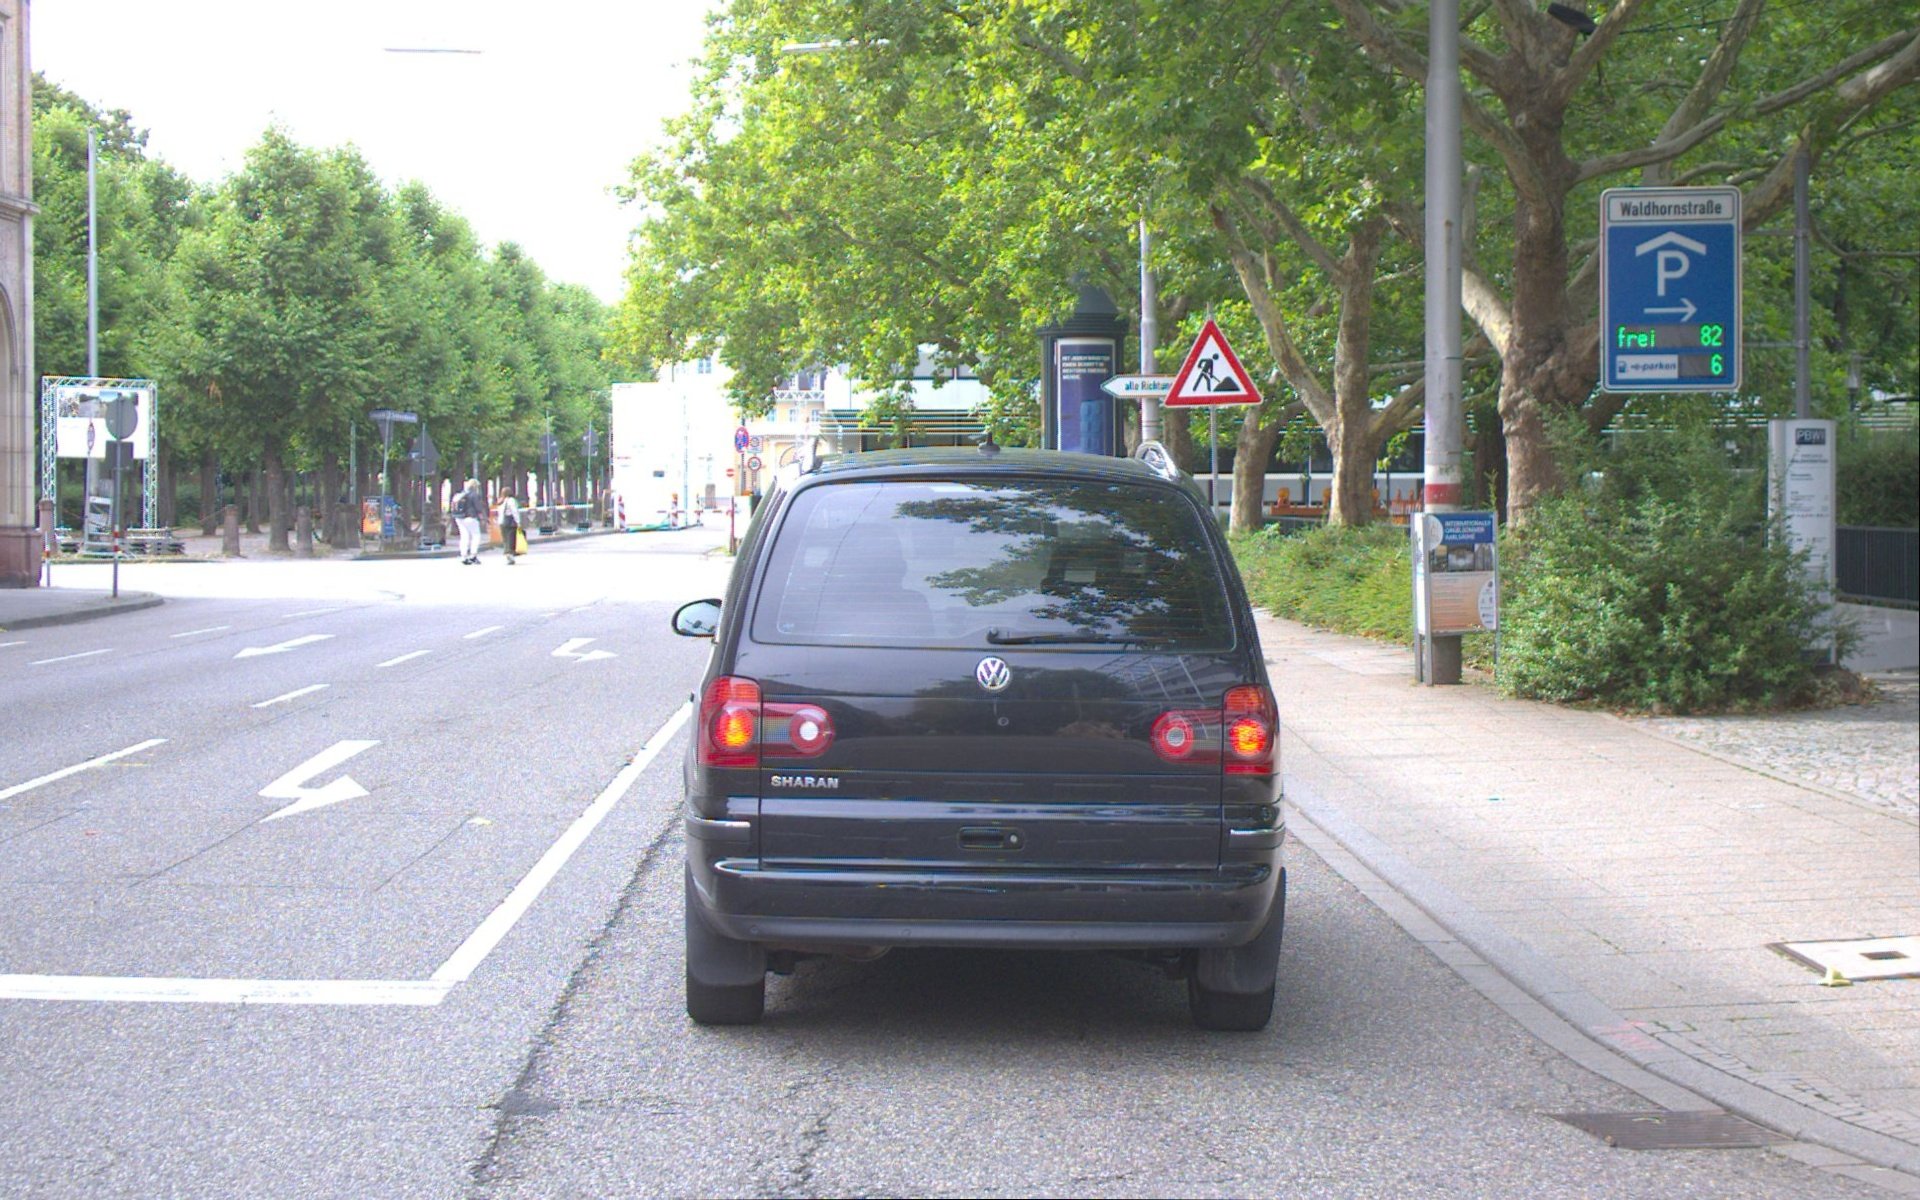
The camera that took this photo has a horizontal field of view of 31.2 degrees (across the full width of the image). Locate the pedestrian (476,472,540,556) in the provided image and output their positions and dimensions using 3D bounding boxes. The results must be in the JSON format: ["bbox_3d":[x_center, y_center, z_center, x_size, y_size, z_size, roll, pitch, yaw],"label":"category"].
[{"bbox_3d":[-9.020,-1.712,68.615,0.898,1.635,0.851,3,2,34],"label":"pedestrian"}]

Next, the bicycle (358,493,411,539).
[{"bbox_3d":[-14.861,-2.167,88.733,0.952,1.106,2.580,1,2,-19],"label":"bicycle"}]

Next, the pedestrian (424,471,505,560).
[{"bbox_3d":[-9.912,-1.695,68.804,0.962,1.735,1.253,3,3,38],"label":"pedestrian"}]

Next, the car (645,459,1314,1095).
[{"bbox_3d":[-0.003,0.395,11.296,1.793,1.702,4.132,0,2,-2],"label":"car"}]
